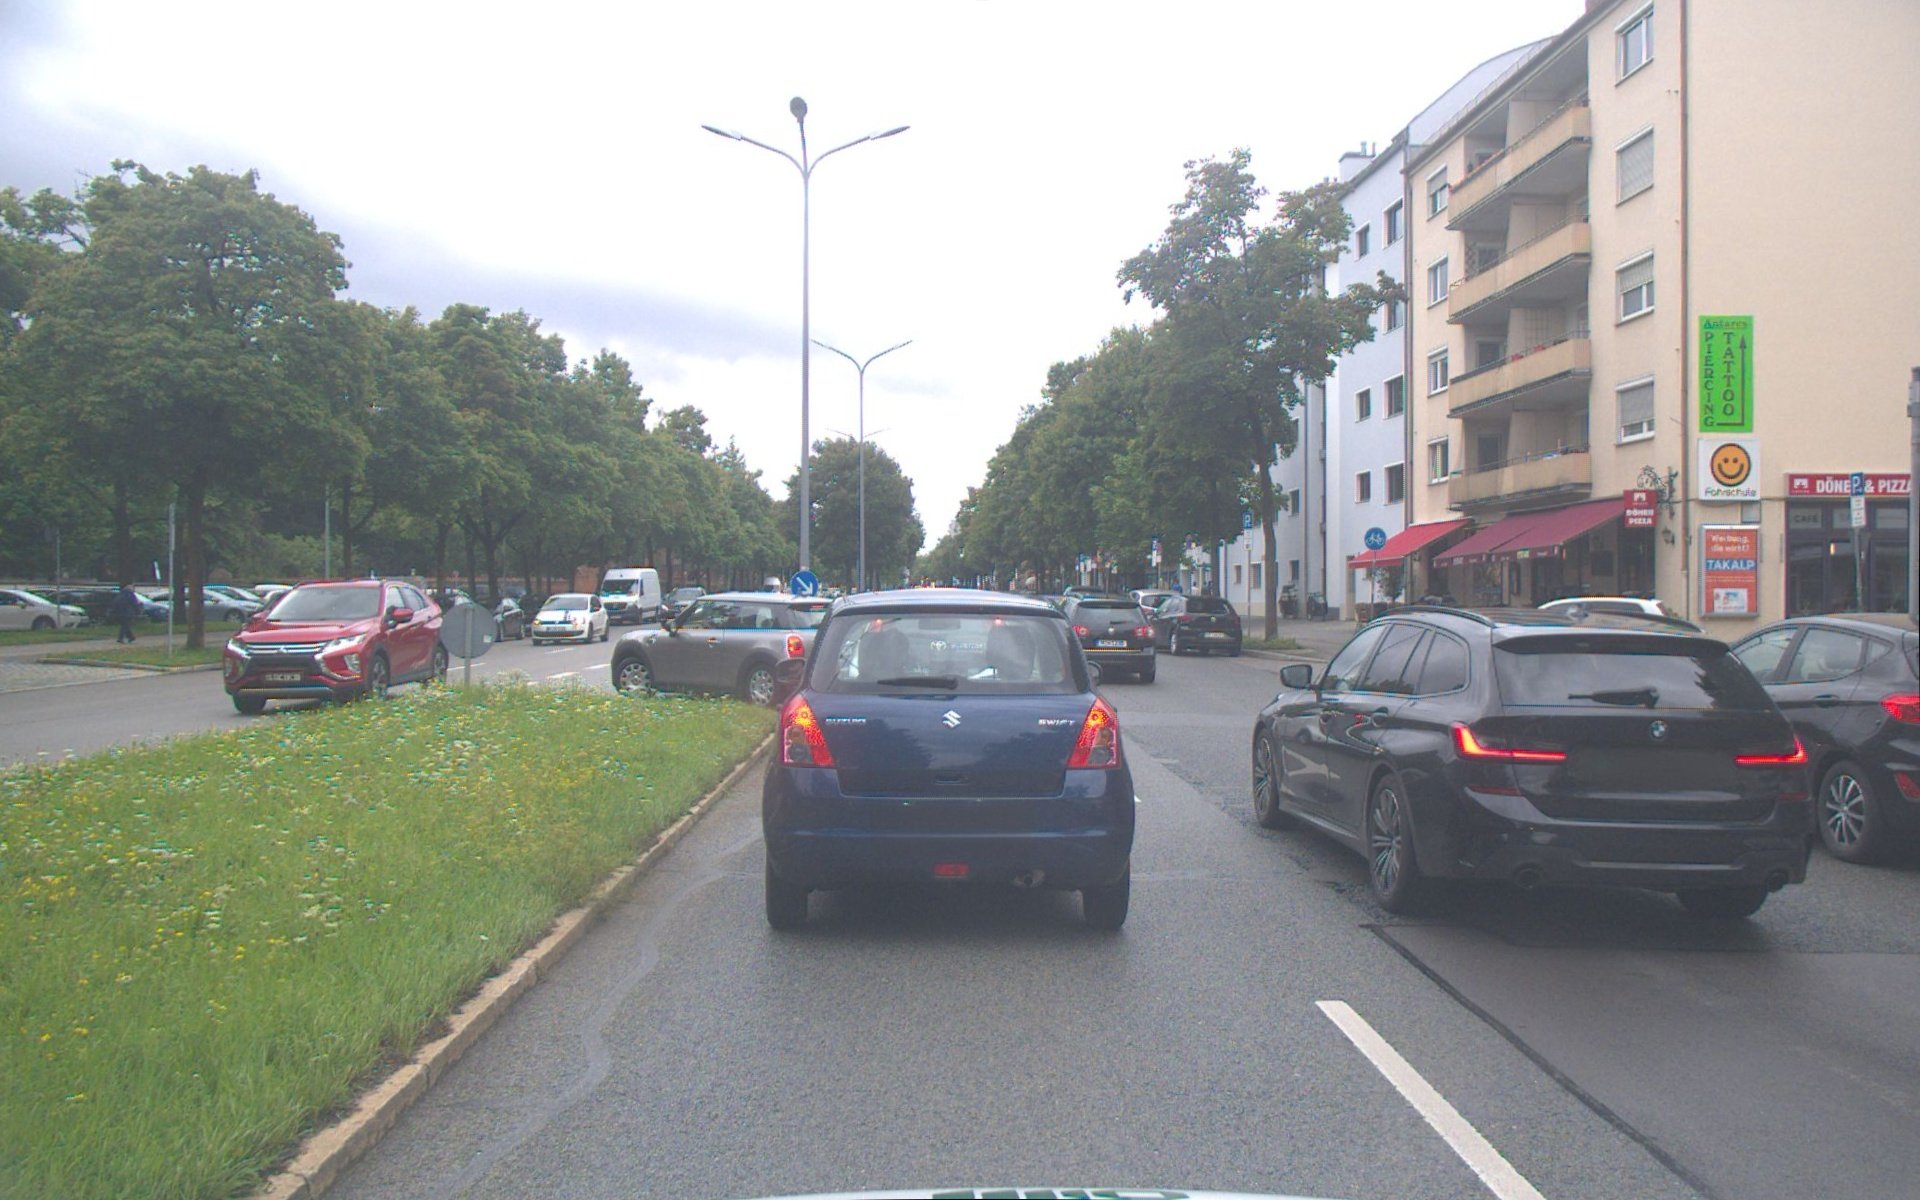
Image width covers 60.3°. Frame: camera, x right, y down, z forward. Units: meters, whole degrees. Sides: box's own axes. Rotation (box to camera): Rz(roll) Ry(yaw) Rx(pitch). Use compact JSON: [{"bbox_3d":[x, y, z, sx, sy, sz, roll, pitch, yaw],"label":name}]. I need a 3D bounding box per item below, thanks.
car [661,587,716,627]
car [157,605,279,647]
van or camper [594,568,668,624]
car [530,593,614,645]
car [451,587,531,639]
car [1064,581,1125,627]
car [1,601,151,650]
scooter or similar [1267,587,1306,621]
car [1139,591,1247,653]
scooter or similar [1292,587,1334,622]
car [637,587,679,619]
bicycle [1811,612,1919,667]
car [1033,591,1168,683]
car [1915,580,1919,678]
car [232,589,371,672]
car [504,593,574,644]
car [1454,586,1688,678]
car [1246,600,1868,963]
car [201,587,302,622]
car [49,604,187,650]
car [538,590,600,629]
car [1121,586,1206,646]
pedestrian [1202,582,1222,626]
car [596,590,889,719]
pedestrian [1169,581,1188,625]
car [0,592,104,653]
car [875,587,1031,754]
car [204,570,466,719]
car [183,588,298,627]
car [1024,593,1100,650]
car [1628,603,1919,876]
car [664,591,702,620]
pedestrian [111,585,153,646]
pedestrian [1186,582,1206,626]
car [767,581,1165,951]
[{"bbox_3d":[-11.950,0.279,73.017,1.730,1.651,4.505,-2,0,-1],"label":"car"},{"bbox_3d":[-27.666,0.959,61.778,3.792,1.471,1.670,1,0,-7],"label":"car"},{"bbox_3d":[-15.624,-0.197,78.943,2.073,2.525,7.448,1,0,0],"label":"van or camper"},{"bbox_3d":[-11.287,0.514,48.365,1.586,1.399,3.836,-2,0,-1],"label":"car"},{"bbox_3d":[-15.005,0.413,53.061,1.558,1.585,3.877,1,0,-2],"label":"car"},{"bbox_3d":[5.186,0.143,64.390,1.828,1.712,4.222,-1,1,-3],"label":"car"},{"bbox_3d":[-27.820,0.786,52.136,3.792,1.471,1.670,1,0,-7],"label":"car"},{"bbox_3d":[13.417,0.152,68.041,1.011,1.330,2.755,0,0,0],"label":"scooter or similar"},{"bbox_3d":[5.809,0.525,41.692,1.829,1.442,4.221,-1,1,-4],"label":"car"},{"bbox_3d":[13.689,0.167,64.189,1.011,1.330,2.755,0,0,0],"label":"scooter or similar"},{"bbox_3d":[-15.815,0.152,86.819,1.599,1.610,3.877,1,0,-2],"label":"car"},{"bbox_3d":[16.478,0.715,29.997,1.810,0.974,0.557,1,0,-3],"label":"bicycle"},{"bbox_3d":[2.401,0.602,29.374,1.697,1.457,4.438,1,1,-4],"label":"car"},{"bbox_3d":[18.904,0.477,28.152,4.308,1.690,1.869,-1,0,-6],"label":"car"},{"bbox_3d":[-14.813,0.655,37.418,1.682,1.771,3.877,1,0,-2],"label":"car"},{"bbox_3d":[-15.088,0.633,59.436,1.599,1.771,3.877,1,0,-2],"label":"car"},{"bbox_3d":[10.316,0.508,27.923,3.480,1.442,1.869,0,1,28],"label":"car"},{"bbox_3d":[2.873,0.757,9.108,1.723,1.438,4.461,1,0,-1],"label":"car"},{"bbox_3d":[-31.553,0.198,73.730,3.792,1.471,1.670,1,0,-7],"label":"car"},{"bbox_3d":[-28.490,0.909,56.045,3.792,1.471,1.670,1,0,-7],"label":"car"},{"bbox_3d":[-15.280,0.348,64.768,1.599,1.456,3.877,1,0,-2],"label":"car"},{"bbox_3d":[5.685,0.400,46.632,1.755,1.585,4.223,-1,1,-2],"label":"car"},{"bbox_3d":[11.910,0.199,78.075,0.778,2.049,1.006,0,0,-1],"label":"pedestrian"},{"bbox_3d":[-2.845,0.633,21.326,3.662,1.488,1.680,1,1,38],"label":"car"},{"bbox_3d":[10.286,0.151,77.888,0.778,2.049,1.006,0,0,-1],"label":"pedestrian"},{"bbox_3d":[-27.896,0.650,49.299,3.843,1.748,1.670,1,0,-7],"label":"car"},{"bbox_3d":[-0.116,0.631,16.558,1.415,1.509,3.105,0,1,-2],"label":"car"},{"bbox_3d":[-8.210,0.518,22.181,1.865,1.726,4.244,-2,0,-1],"label":"car"},{"bbox_3d":[-28.215,0.287,64.929,3.792,1.471,1.670,1,0,-7],"label":"car"},{"bbox_3d":[2.635,0.534,43.610,1.648,1.408,3.918,1,0,-1],"label":"car"},{"bbox_3d":[6.029,0.799,11.005,1.584,1.491,3.673,2,0,-1],"label":"car"},{"bbox_3d":[-15.817,0.325,94.466,1.599,1.610,3.877,1,0,-2],"label":"car"},{"bbox_3d":[-21.523,0.404,43.005,0.712,1.561,0.721,1,0,-1],"label":"pedestrian"},{"bbox_3d":[11.084,0.188,77.804,0.778,2.049,1.006,0,0,-1],"label":"pedestrian"},{"bbox_3d":[-0.042,0.669,8.820,1.648,1.528,3.917,0,1,-2],"label":"car"}]
